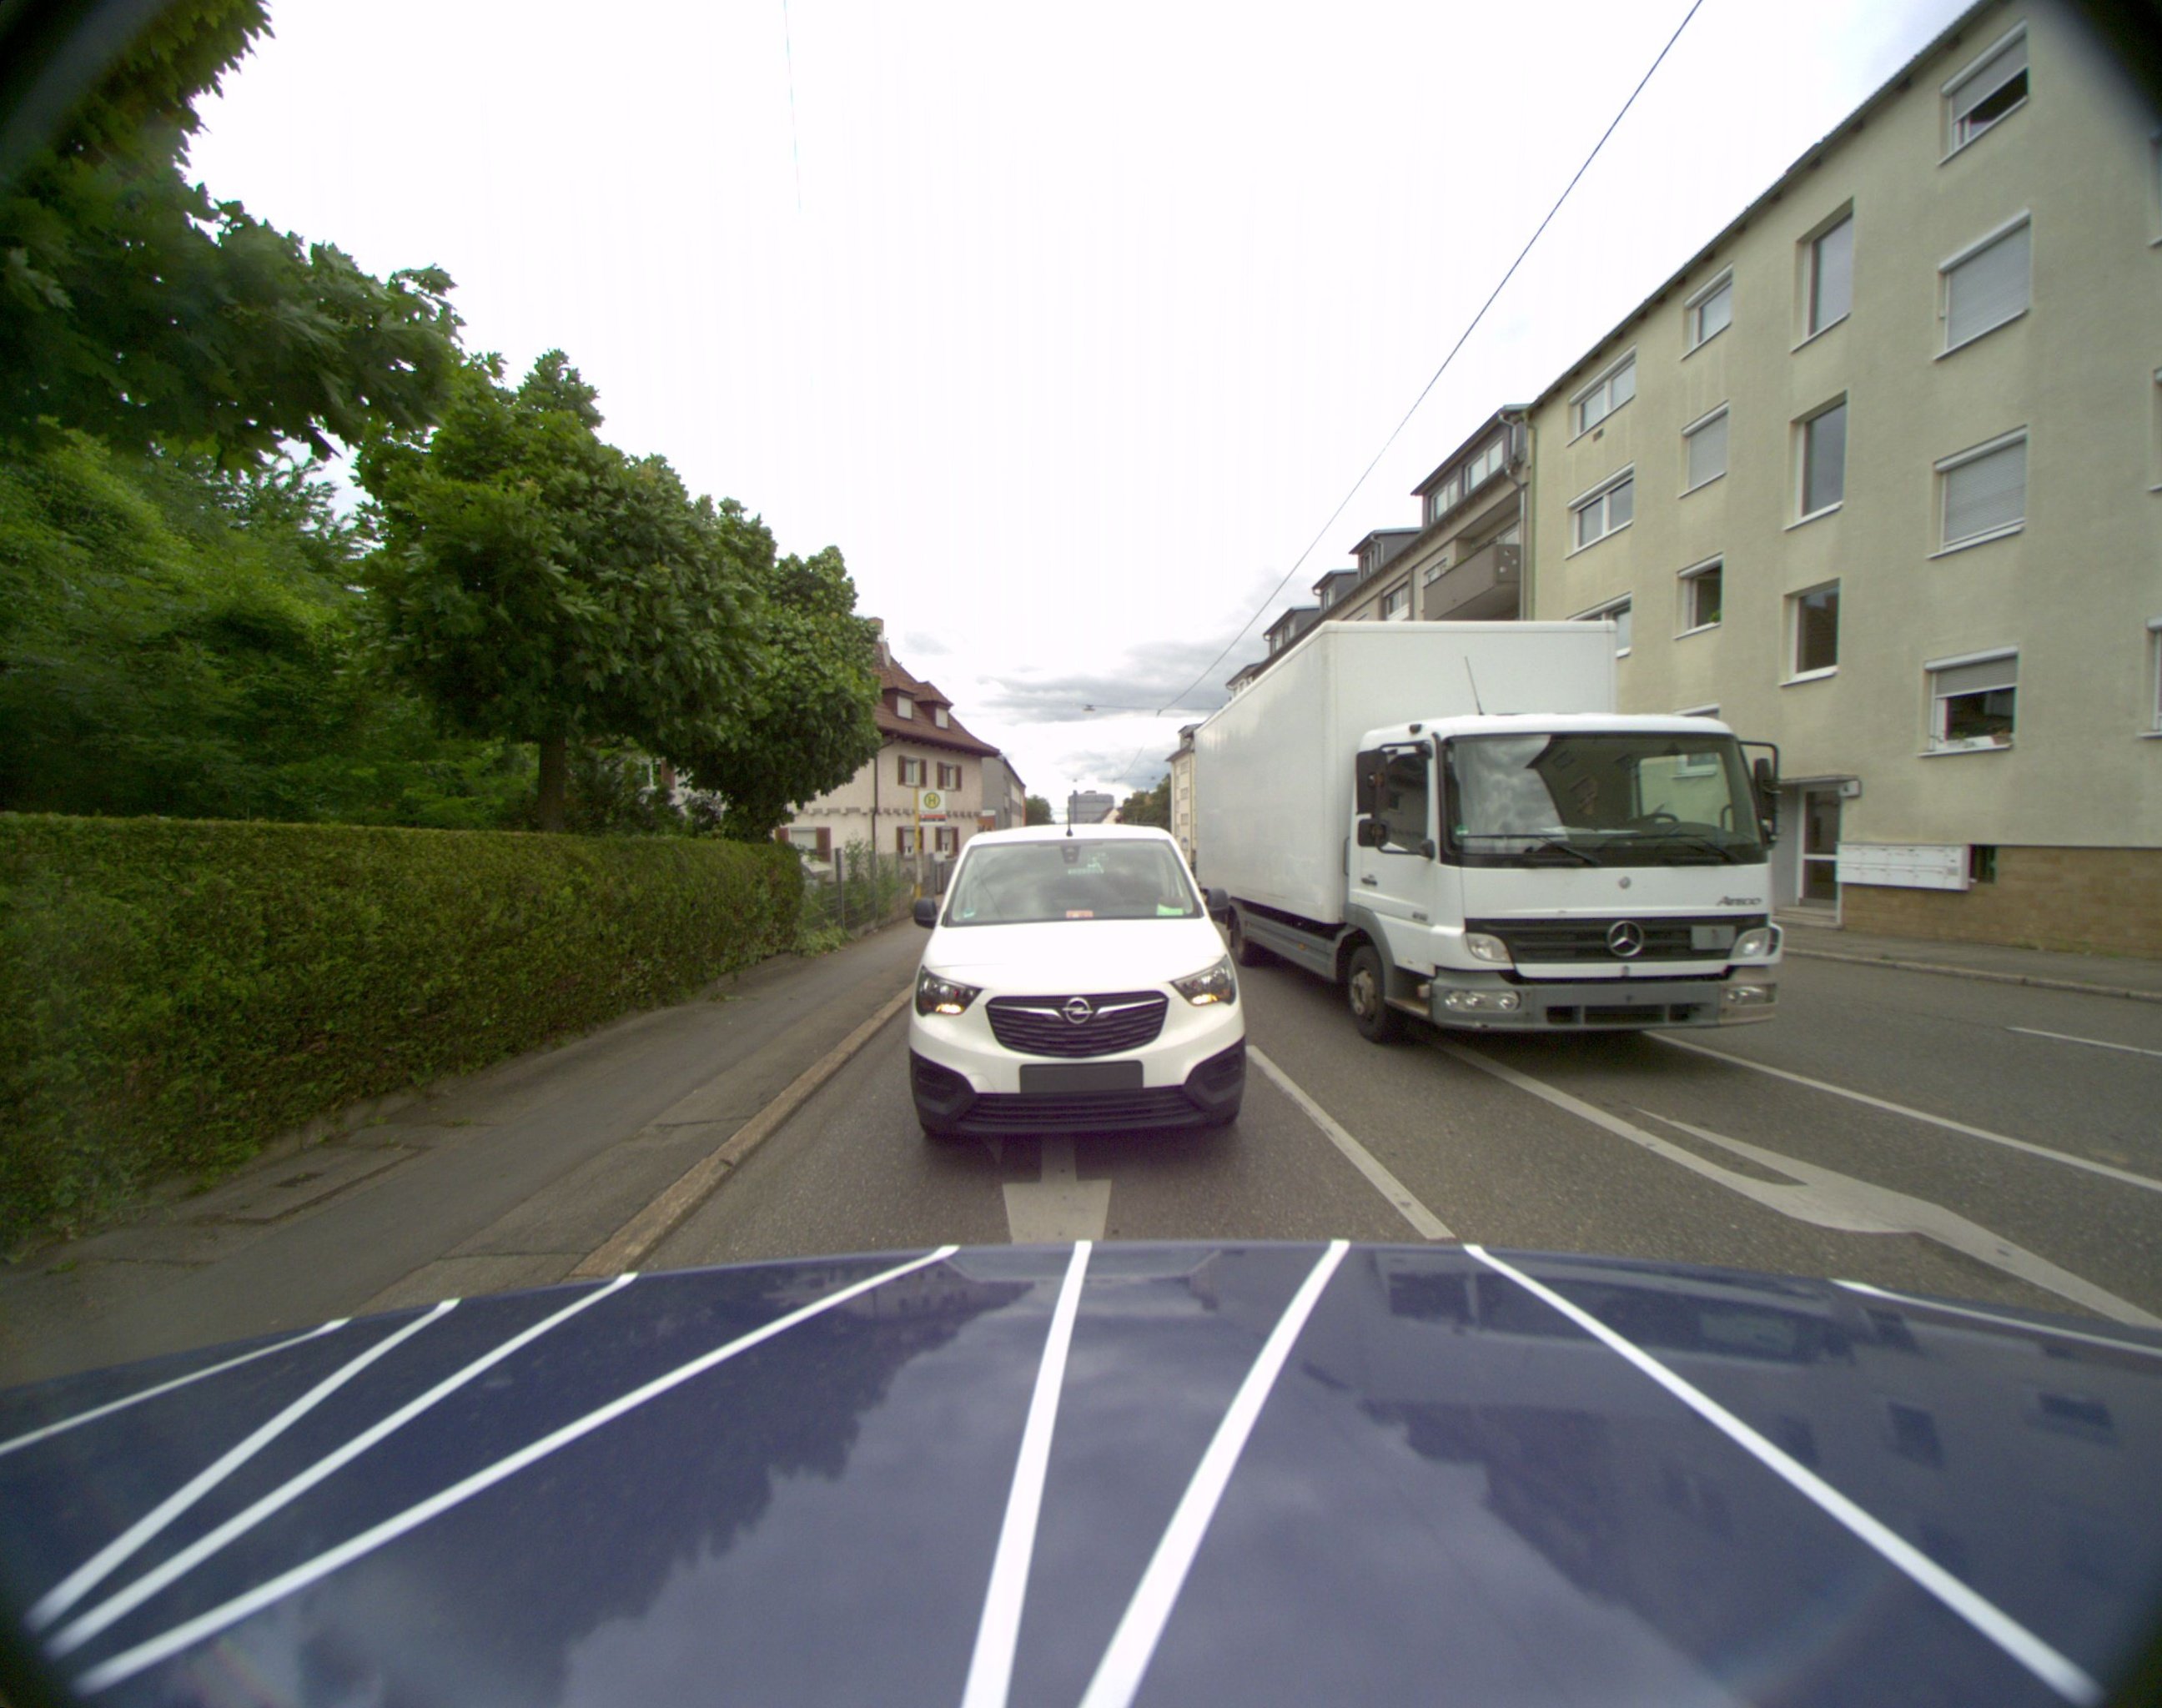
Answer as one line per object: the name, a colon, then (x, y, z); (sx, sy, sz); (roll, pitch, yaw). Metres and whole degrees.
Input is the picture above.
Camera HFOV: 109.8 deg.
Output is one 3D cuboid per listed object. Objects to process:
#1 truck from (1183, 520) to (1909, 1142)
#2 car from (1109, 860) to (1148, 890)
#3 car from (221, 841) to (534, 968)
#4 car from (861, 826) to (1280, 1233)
truck: (3.293, -0.136, 8.456); (2.776, 3.554, 8.062); (-2, 0, -3)
car: (2.264, 0.983, 37.066); (1.700, 1.365, 4.178); (-2, 0, 1)
car: (-12.896, 0.779, 14.130); (1.994, 2.002, 4.008); (-1, 0, 40)
car: (-0.101, 0.767, 5.410); (1.803, 1.736, 3.999); (-3, 1, -2)
